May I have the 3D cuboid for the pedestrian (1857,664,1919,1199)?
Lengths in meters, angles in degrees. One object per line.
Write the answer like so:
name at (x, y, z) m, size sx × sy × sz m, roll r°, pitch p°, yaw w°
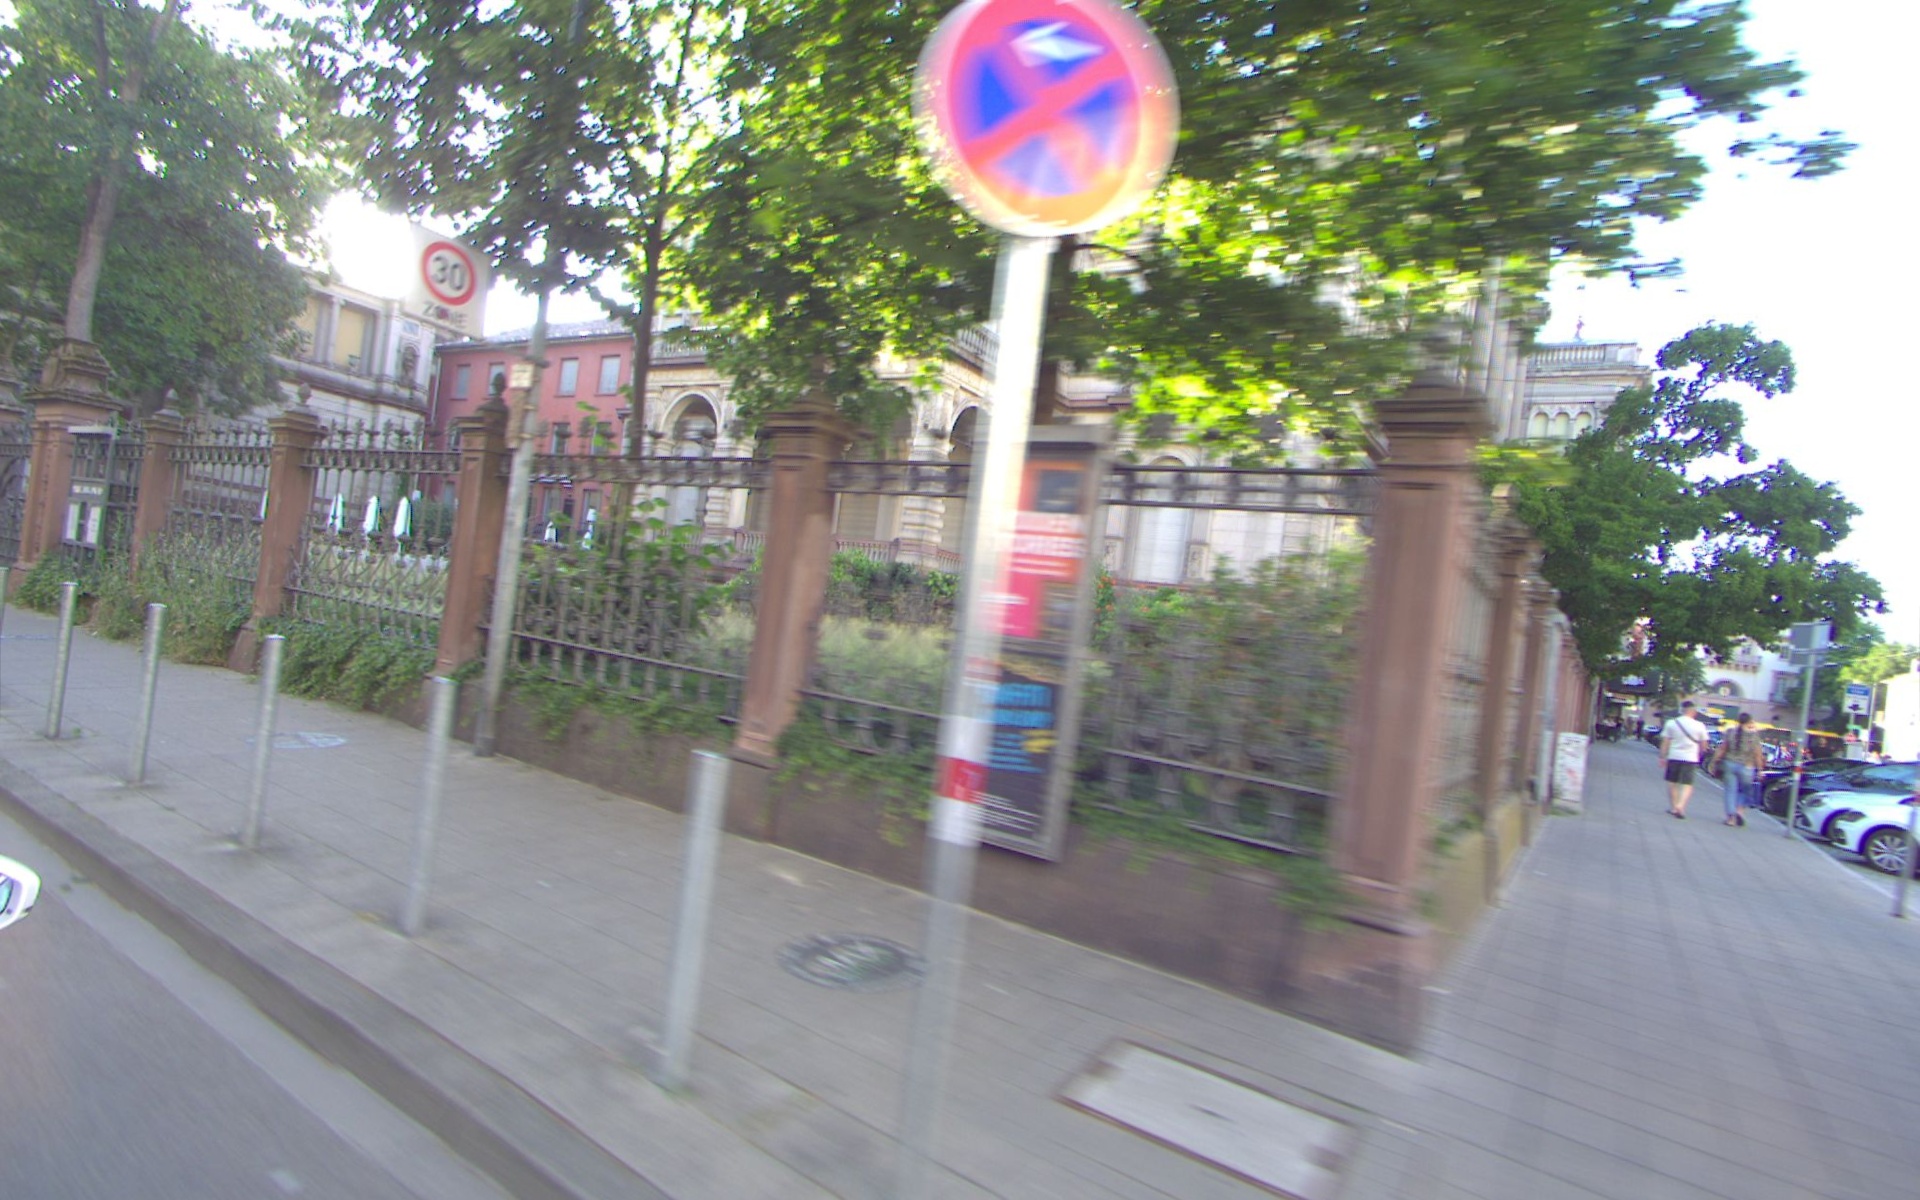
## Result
pedestrian at (2.727, 0.978, 2.292) m, size 0.834 × 1.743 × 0.634 m, roll 7°, pitch -1°, yaw -22°

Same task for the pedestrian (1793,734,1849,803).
pedestrian at (24.548, 4.790, 28.701) m, size 0.959 × 1.770 × 1.000 m, roll 7°, pitch -1°, yaw 36°

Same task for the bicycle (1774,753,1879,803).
bicycle at (26.588, 5.446, 30.910) m, size 2.263 × 1.103 × 0.716 m, roll 6°, pitch -2°, yaw 31°

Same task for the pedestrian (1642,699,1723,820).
pedestrian at (11.006, 2.400, 15.347) m, size 0.630 × 1.690 × 0.706 m, roll 8°, pitch 0°, yaw 20°

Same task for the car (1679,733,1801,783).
car at (33.477, 6.767, 43.316) m, size 3.937 × 1.429 × 1.751 m, roll 6°, pitch -2°, yaw 35°

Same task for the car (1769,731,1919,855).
car at (16.958, 3.528, 17.540) m, size 1.731 × 1.741 × 3.982 m, roll 7°, pitch -1°, yaw -20°

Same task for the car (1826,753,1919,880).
car at (13.948, 3.183, 12.828) m, size 1.735 × 1.465 × 3.879 m, roll 8°, pitch 3°, yaw -28°

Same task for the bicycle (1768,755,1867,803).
bicycle at (27.726, 5.784, 32.588) m, size 2.263 × 1.103 × 0.716 m, roll 6°, pitch -2°, yaw 31°

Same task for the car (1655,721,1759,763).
car at (37.012, 7.035, 49.955) m, size 3.937 × 1.429 × 1.751 m, roll 6°, pitch -2°, yaw 35°

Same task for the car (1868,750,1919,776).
car at (70.537, 12.250, 74.978) m, size 3.937 × 1.429 × 1.751 m, roll 6°, pitch -2°, yaw 35°

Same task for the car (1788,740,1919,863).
car at (15.483, 3.339, 15.305) m, size 1.735 × 1.545 × 3.970 m, roll 8°, pitch 1°, yaw -28°

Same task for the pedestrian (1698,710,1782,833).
pedestrian at (11.816, 2.578, 15.266) m, size 0.630 × 1.690 × 0.706 m, roll 8°, pitch 0°, yaw 20°

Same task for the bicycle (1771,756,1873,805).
bicycle at (27.090, 5.666, 31.675) m, size 2.263 × 1.103 × 0.716 m, roll 6°, pitch -2°, yaw 31°
